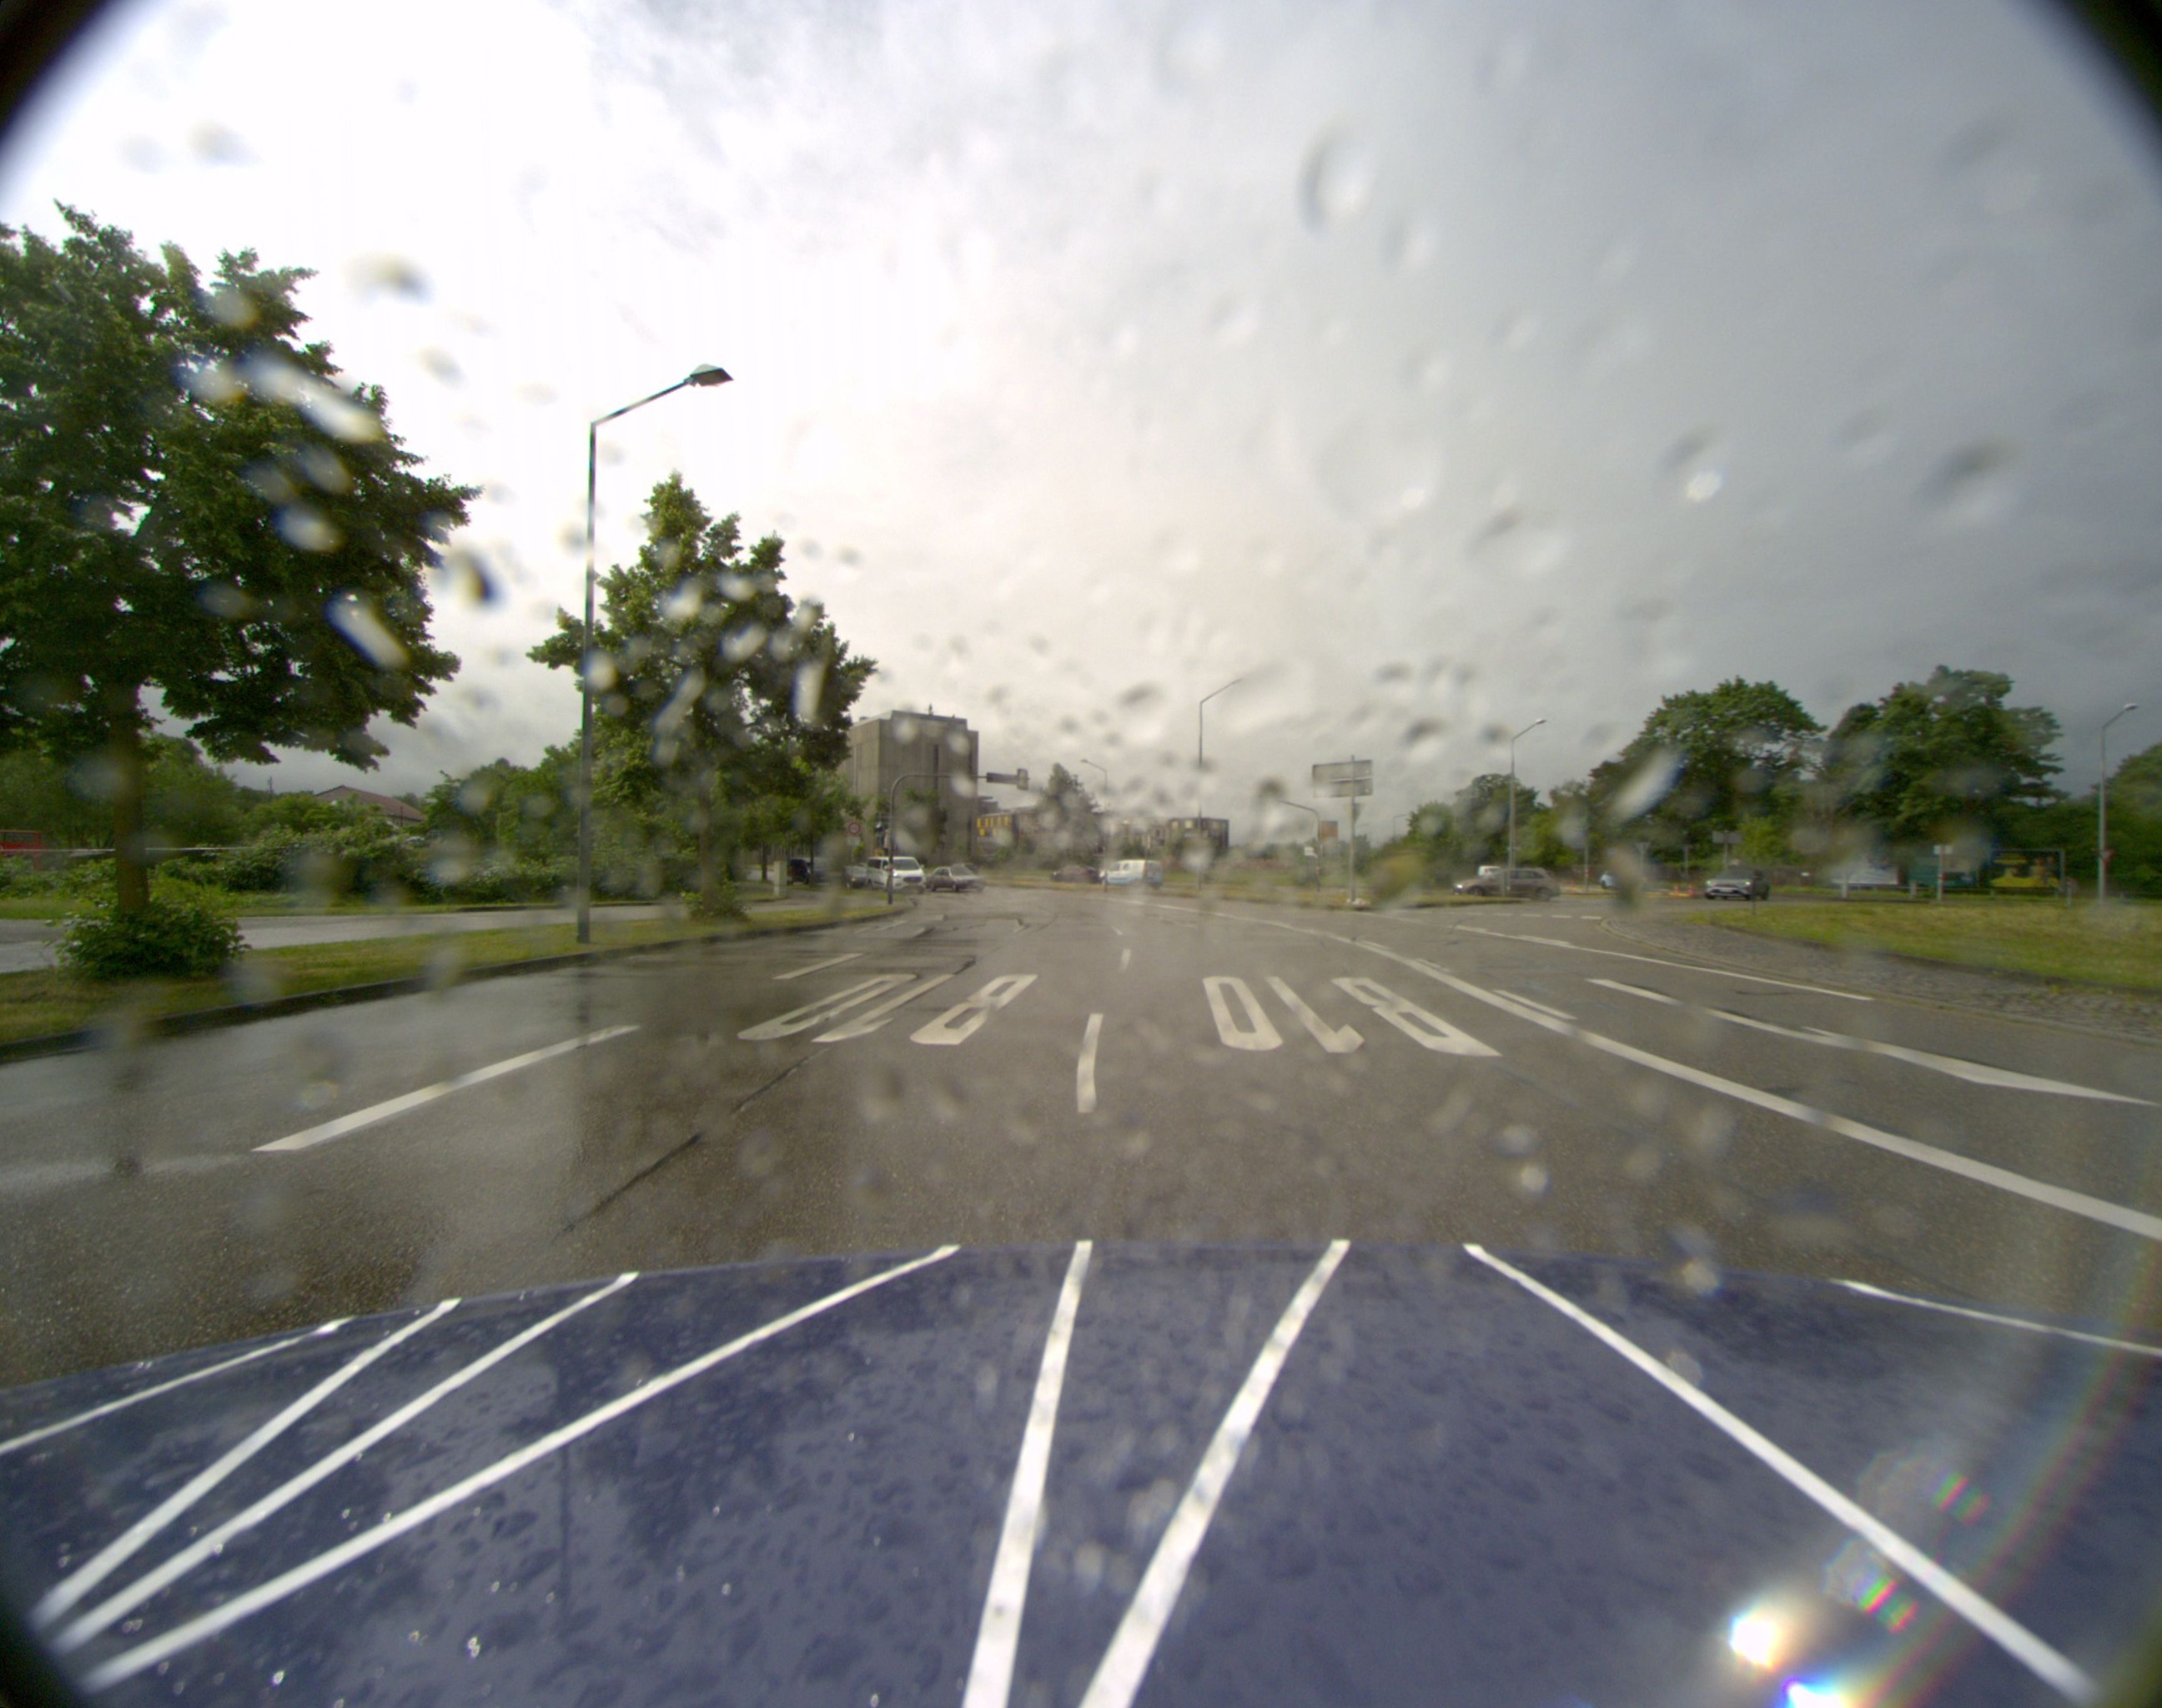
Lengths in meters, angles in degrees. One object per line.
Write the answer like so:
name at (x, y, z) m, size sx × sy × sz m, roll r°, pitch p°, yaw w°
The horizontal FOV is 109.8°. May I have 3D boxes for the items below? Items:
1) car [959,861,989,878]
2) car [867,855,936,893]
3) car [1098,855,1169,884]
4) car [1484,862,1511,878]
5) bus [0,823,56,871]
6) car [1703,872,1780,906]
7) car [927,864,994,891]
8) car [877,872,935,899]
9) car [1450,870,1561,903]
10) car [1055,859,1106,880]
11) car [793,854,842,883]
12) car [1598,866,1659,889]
car at (-10.171, 1.468, 72.253) m, size 1.813 × 1.519 × 3.992 m, roll 1°, pitch -1°, yaw -23°
car at (-10.076, 1.096, 42.416) m, size 2.083 × 1.975 × 4.788 m, roll 1°, pitch -1°, yaw -35°
car at (3.291, 0.969, 48.266) m, size 1.871 × 1.752 × 4.539 m, roll 1°, pitch -1°, yaw -39°
car at (47.403, 1.820, 86.499) m, size 1.871 × 1.653 × 4.490 m, roll 2°, pitch -1°, yaw 18°
bus at (-81.379, -0.431, 53.309) m, size 1.994 × 3.439 × 11.008 m, roll -1°, pitch 0°, yaw 45°
car at (34.350, 1.775, 39.481) m, size 4.491 × 1.653 × 1.871 m, roll 0°, pitch -1°, yaw -33°
car at (-6.931, 1.297, 43.361) m, size 1.871 × 1.372 × 4.539 m, roll -1°, pitch 1°, yaw -37°
car at (-11.178, 1.960, 48.262) m, size 1.871 × 1.527 × 4.475 m, roll 1°, pitch 0°, yaw -37°
car at (19.048, 1.453, 34.323) m, size 4.119 × 1.404 × 1.738 m, roll -1°, pitch -1°, yaw 19°
car at (-0.106, 1.267, 62.157) m, size 1.879 × 1.647 × 4.487 m, roll 2°, pitch -1°, yaw -36°
car at (-18.814, 1.042, 54.176) m, size 2.083 × 1.975 × 4.788 m, roll 1°, pitch -1°, yaw -34°
car at (42.095, 1.765, 58.518) m, size 1.873 × 1.653 × 4.486 m, roll -1°, pitch -1°, yaw 7°
